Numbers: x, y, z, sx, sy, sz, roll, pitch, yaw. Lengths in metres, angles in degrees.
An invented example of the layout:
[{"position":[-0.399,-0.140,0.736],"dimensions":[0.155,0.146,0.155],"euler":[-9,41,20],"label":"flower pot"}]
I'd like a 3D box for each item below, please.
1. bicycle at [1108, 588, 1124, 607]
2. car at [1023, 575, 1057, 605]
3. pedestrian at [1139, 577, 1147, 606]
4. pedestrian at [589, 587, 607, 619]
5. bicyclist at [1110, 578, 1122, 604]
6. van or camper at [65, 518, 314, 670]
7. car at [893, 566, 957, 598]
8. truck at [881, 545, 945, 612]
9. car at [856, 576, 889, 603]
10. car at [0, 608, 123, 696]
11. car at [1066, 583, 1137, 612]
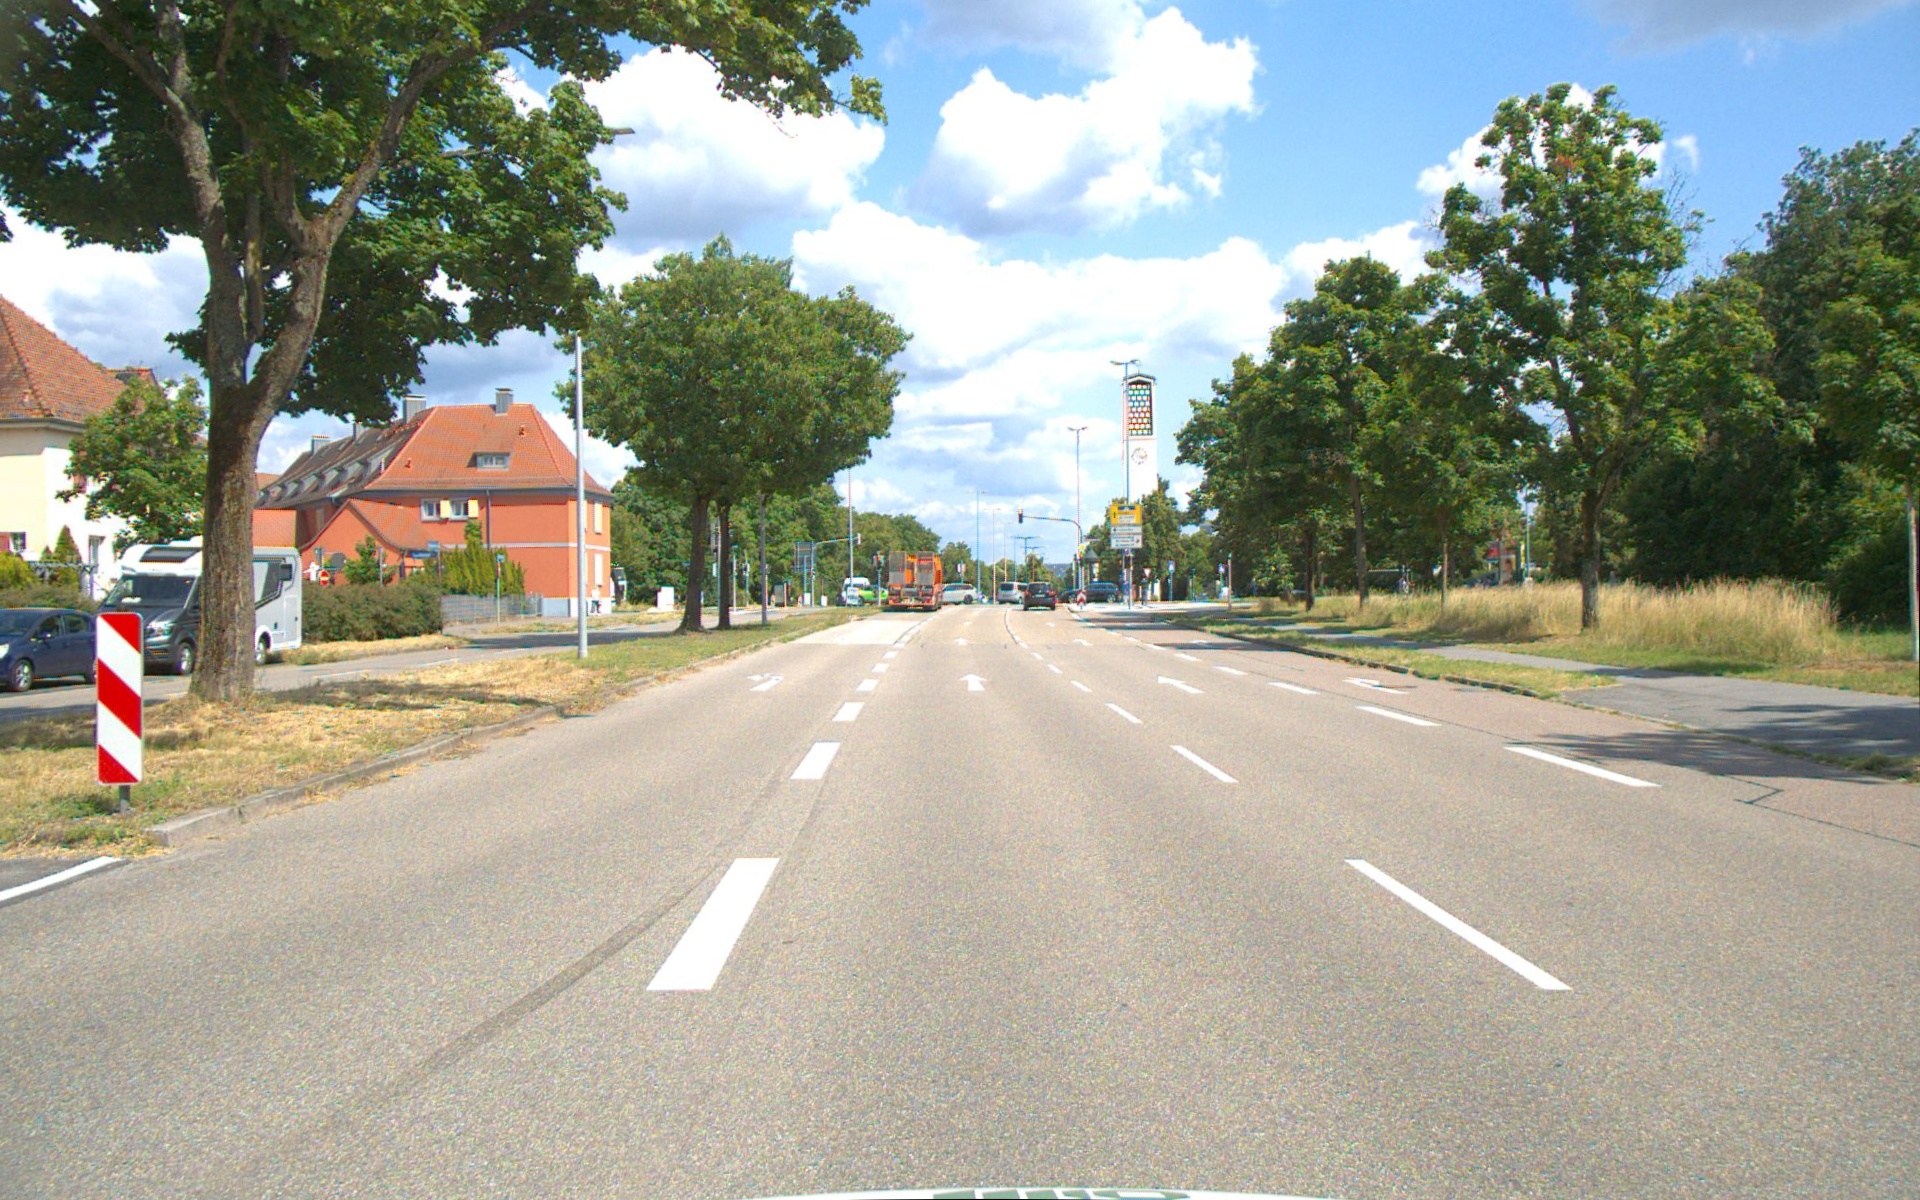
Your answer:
[{"position":[10.013,-0.158,106.018],"dimensions":[0.634,1.127,1.929],"euler":[1,-1,17],"label":"bicycle"},{"position":[4.534,-0.542,93.808],"dimensions":[1.762,1.579,4.000],"euler":[1,0,1],"label":"car"},{"position":[11.533,-0.537,104.318],"dimensions":[0.454,1.810,0.482],"euler":[1,-1,12],"label":"pedestrian"},{"position":[-18.653,0.156,85.318],"dimensions":[0.681,1.611,0.851],"euler":[1,-1,1],"label":"pedestrian"},{"position":[9.967,-0.579,105.835],"dimensions":[0.634,1.690,0.650],"euler":[1,-1,17],"label":"bicyclist"},{"position":[-17.645,-0.173,38.479],"dimensions":[2.212,3.166,7.321],"euler":[1,1,1],"label":"van or camper"},{"position":[-2.404,-1.242,114.021],"dimensions":[3.929,2.049,1.988],"euler":[1,-1,-21],"label":"car"},{"position":[-2.549,-1.124,93.321],"dimensions":[3.007,3.474,11.069],"euler":[1,0,1],"label":"truck"},{"position":[-5.542,-0.652,105.472],"dimensions":[1.697,1.534,4.653],"euler":[-4,-1,1],"label":"car"},{"position":[-17.602,0.927,31.117],"dimensions":[1.602,1.511,3.993],"euler":[1,0,1],"label":"car"},{"position":[7.604,-0.115,88.969],"dimensions":[3.516,1.467,1.469],"euler":[1,-1,-17],"label":"car"}]
